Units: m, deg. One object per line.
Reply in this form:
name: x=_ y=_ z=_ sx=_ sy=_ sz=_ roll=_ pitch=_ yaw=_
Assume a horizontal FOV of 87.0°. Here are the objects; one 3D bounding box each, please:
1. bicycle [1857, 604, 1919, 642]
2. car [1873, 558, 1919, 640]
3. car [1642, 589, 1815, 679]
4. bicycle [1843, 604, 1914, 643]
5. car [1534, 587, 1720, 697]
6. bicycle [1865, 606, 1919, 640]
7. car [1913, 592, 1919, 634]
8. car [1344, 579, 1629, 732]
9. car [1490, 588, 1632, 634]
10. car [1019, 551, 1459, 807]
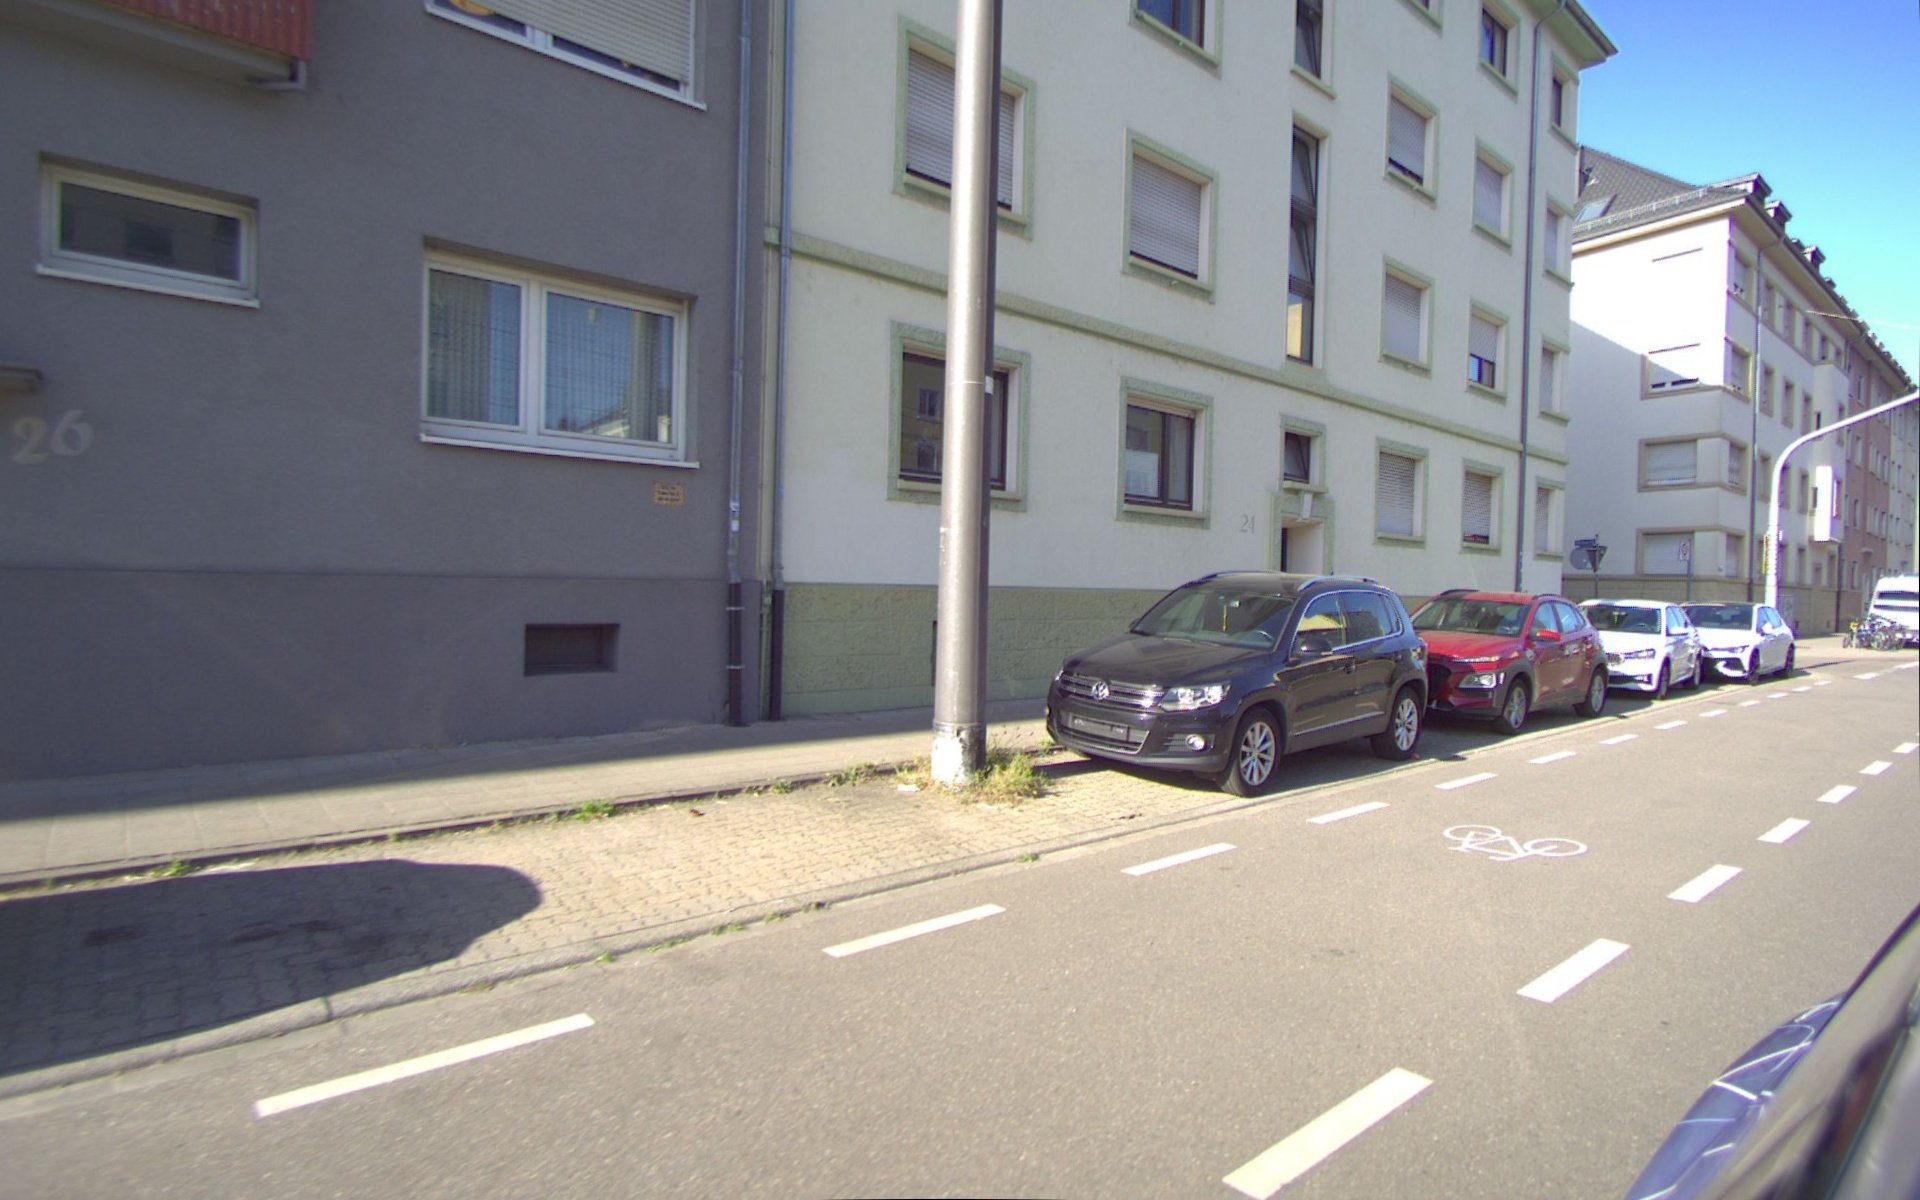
bicycle: x=30.149 y=0.735 z=32.826 sx=0.465 sy=1.100 sz=1.917 roll=-1 pitch=2 yaw=2
car: x=34.670 y=-0.016 z=36.171 sx=6.181 sy=2.729 sz=2.156 roll=1 pitch=3 yaw=-41
car: x=14.721 y=0.585 z=19.309 sx=4.301 sy=1.476 sz=1.698 roll=1 pitch=2 yaw=-40
bicycle: x=29.200 y=0.727 z=32.214 sx=0.465 sy=1.100 sz=1.917 roll=4 pitch=2 yaw=2
car: x=10.674 y=0.595 z=16.089 sx=4.014 sy=1.476 sz=1.637 roll=1 pitch=2 yaw=-45
bicycle: x=30.883 y=0.748 z=33.354 sx=0.478 sy=1.101 sz=2.024 roll=-1 pitch=-1 yaw=7
car: x=39.964 y=0.568 z=40.838 sx=4.497 sy=1.657 sz=1.850 roll=1 pitch=2 yaw=-43
car: x=6.561 y=0.583 z=12.420 sx=4.114 sy=1.536 sz=1.639 roll=1 pitch=2 yaw=-40
car: x=20.150 y=0.386 z=34.072 sx=1.678 sy=1.442 sz=3.744 roll=0 pitch=-1 yaw=-30
car: x=2.630 y=0.518 z=8.875 sx=4.300 sy=1.667 sz=1.638 roll=0 pitch=3 yaw=-43
